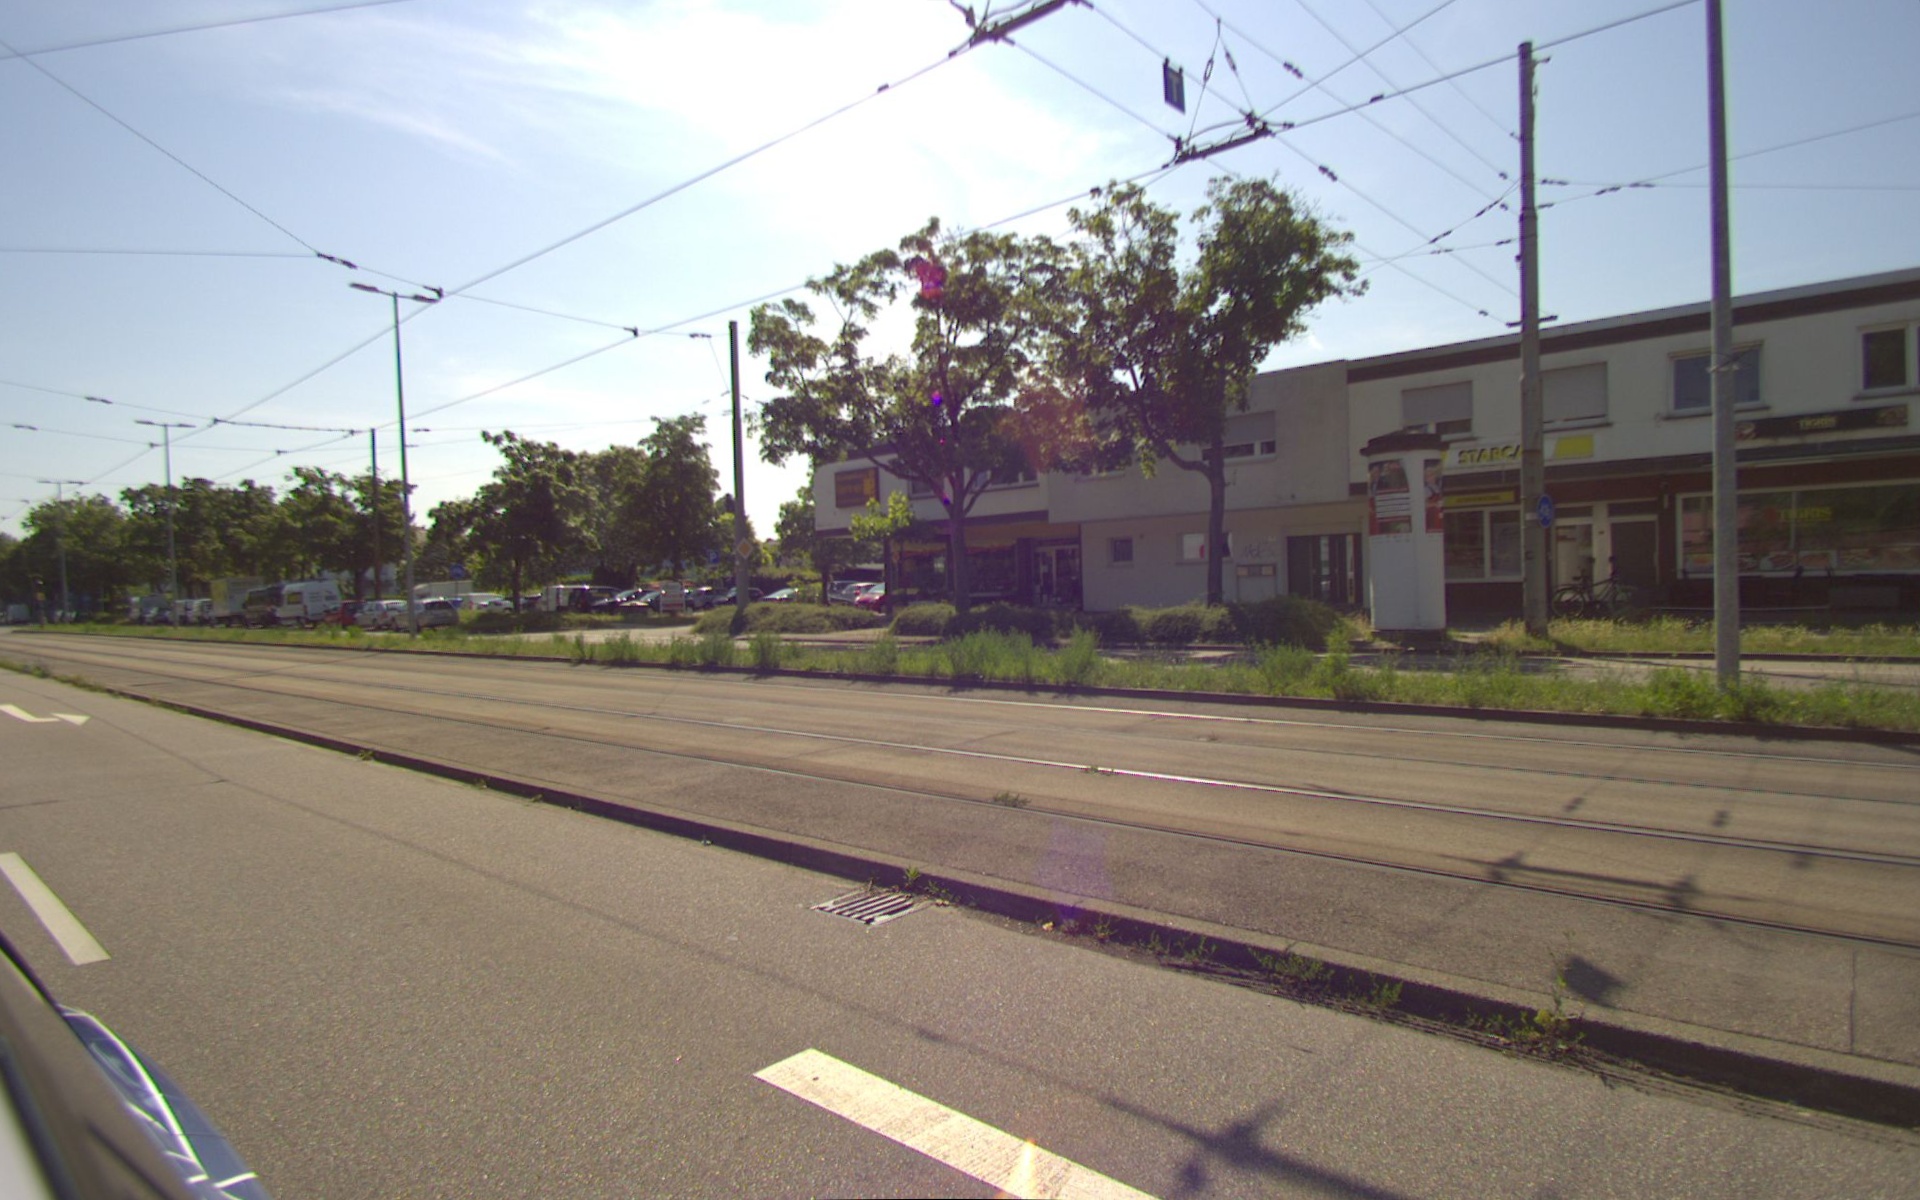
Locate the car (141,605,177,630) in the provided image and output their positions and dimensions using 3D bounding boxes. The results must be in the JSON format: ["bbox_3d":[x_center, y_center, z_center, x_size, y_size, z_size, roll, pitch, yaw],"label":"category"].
[{"bbox_3d":[-64.406,1.410,81.362,3.685,1.799,1.484,-1,4,40],"label":"car"}]

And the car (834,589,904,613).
[{"bbox_3d":[-5.520,0.056,61.716,1.676,1.345,4.197,-1,1,42],"label":"car"}]

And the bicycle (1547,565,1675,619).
[{"bbox_3d":[14.691,-0.161,22.895,2.333,1.161,0.779,-1,-1,42],"label":"bicycle"}]

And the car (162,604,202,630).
[{"bbox_3d":[-59.796,1.308,77.760,4.056,1.859,1.484,-1,4,40],"label":"car"}]

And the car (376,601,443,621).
[{"bbox_3d":[-42.066,0.834,77.433,1.676,1.345,4.198,-1,1,41],"label":"car"}]

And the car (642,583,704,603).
[{"bbox_3d":[-21.173,-0.529,74.757,1.674,1.345,4.201,-1,1,39],"label":"car"}]

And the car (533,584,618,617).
[{"bbox_3d":[-22.061,0.013,58.186,1.988,1.751,4.068,-1,1,38],"label":"car"}]

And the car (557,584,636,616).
[{"bbox_3d":[-20.261,0.013,56.493,1.676,1.646,3.761,-1,1,42],"label":"car"}]

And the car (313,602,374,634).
[{"bbox_3d":[-33.153,0.968,54.368,3.791,1.544,1.654,-1,4,41],"label":"car"}]

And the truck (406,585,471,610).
[{"bbox_3d":[-53.053,-0.256,103.059,1.988,2.398,5.584,-1,1,38],"label":"truck"}]

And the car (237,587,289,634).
[{"bbox_3d":[-42.386,0.634,61.485,4.005,2.643,1.483,-1,4,41],"label":"car"}]

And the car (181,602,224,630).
[{"bbox_3d":[-54.767,1.179,73.141,4.631,1.817,1.483,-1,4,41],"label":"car"}]

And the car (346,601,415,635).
[{"bbox_3d":[-29.254,0.898,51.024,4.255,1.544,1.654,-1,4,41],"label":"car"}]

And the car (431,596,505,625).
[{"bbox_3d":[-33.298,0.727,68.418,5.739,1.825,2.560,-1,1,42],"label":"car"}]

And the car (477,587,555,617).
[{"bbox_3d":[-28.024,0.103,63.999,1.988,1.751,4.068,-1,1,38],"label":"car"}]

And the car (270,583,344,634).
[{"bbox_3d":[-37.250,0.491,57.651,5.201,2.673,2.036,-1,4,41],"label":"car"}]

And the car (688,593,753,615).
[{"bbox_3d":[-16.818,0.265,71.253,1.676,1.345,4.197,-1,1,42],"label":"car"}]

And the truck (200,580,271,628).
[{"bbox_3d":[-48.363,0.287,67.508,5.902,2.956,2.476,-1,4,42],"label":"truck"}]

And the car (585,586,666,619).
[{"bbox_3d":[-17.960,0.138,54.432,1.676,1.646,3.761,-1,1,42],"label":"car"}]

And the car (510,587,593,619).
[{"bbox_3d":[-24.037,0.149,59.667,1.988,1.751,4.068,-1,1,38],"label":"car"}]

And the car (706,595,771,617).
[{"bbox_3d":[-15.221,0.383,69.700,1.676,1.345,4.197,-1,1,42],"label":"car"}]

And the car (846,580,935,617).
[{"bbox_3d":[-3.243,-0.105,47.985,1.676,1.616,4.197,-1,1,42],"label":"car"}]

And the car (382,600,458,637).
[{"bbox_3d":[-25.306,0.852,47.355,4.255,1.544,1.654,-1,4,41],"label":"car"}]

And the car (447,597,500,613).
[{"bbox_3d":[-45.938,0.452,95.635,1.676,1.345,4.198,-1,1,41],"label":"car"}]
